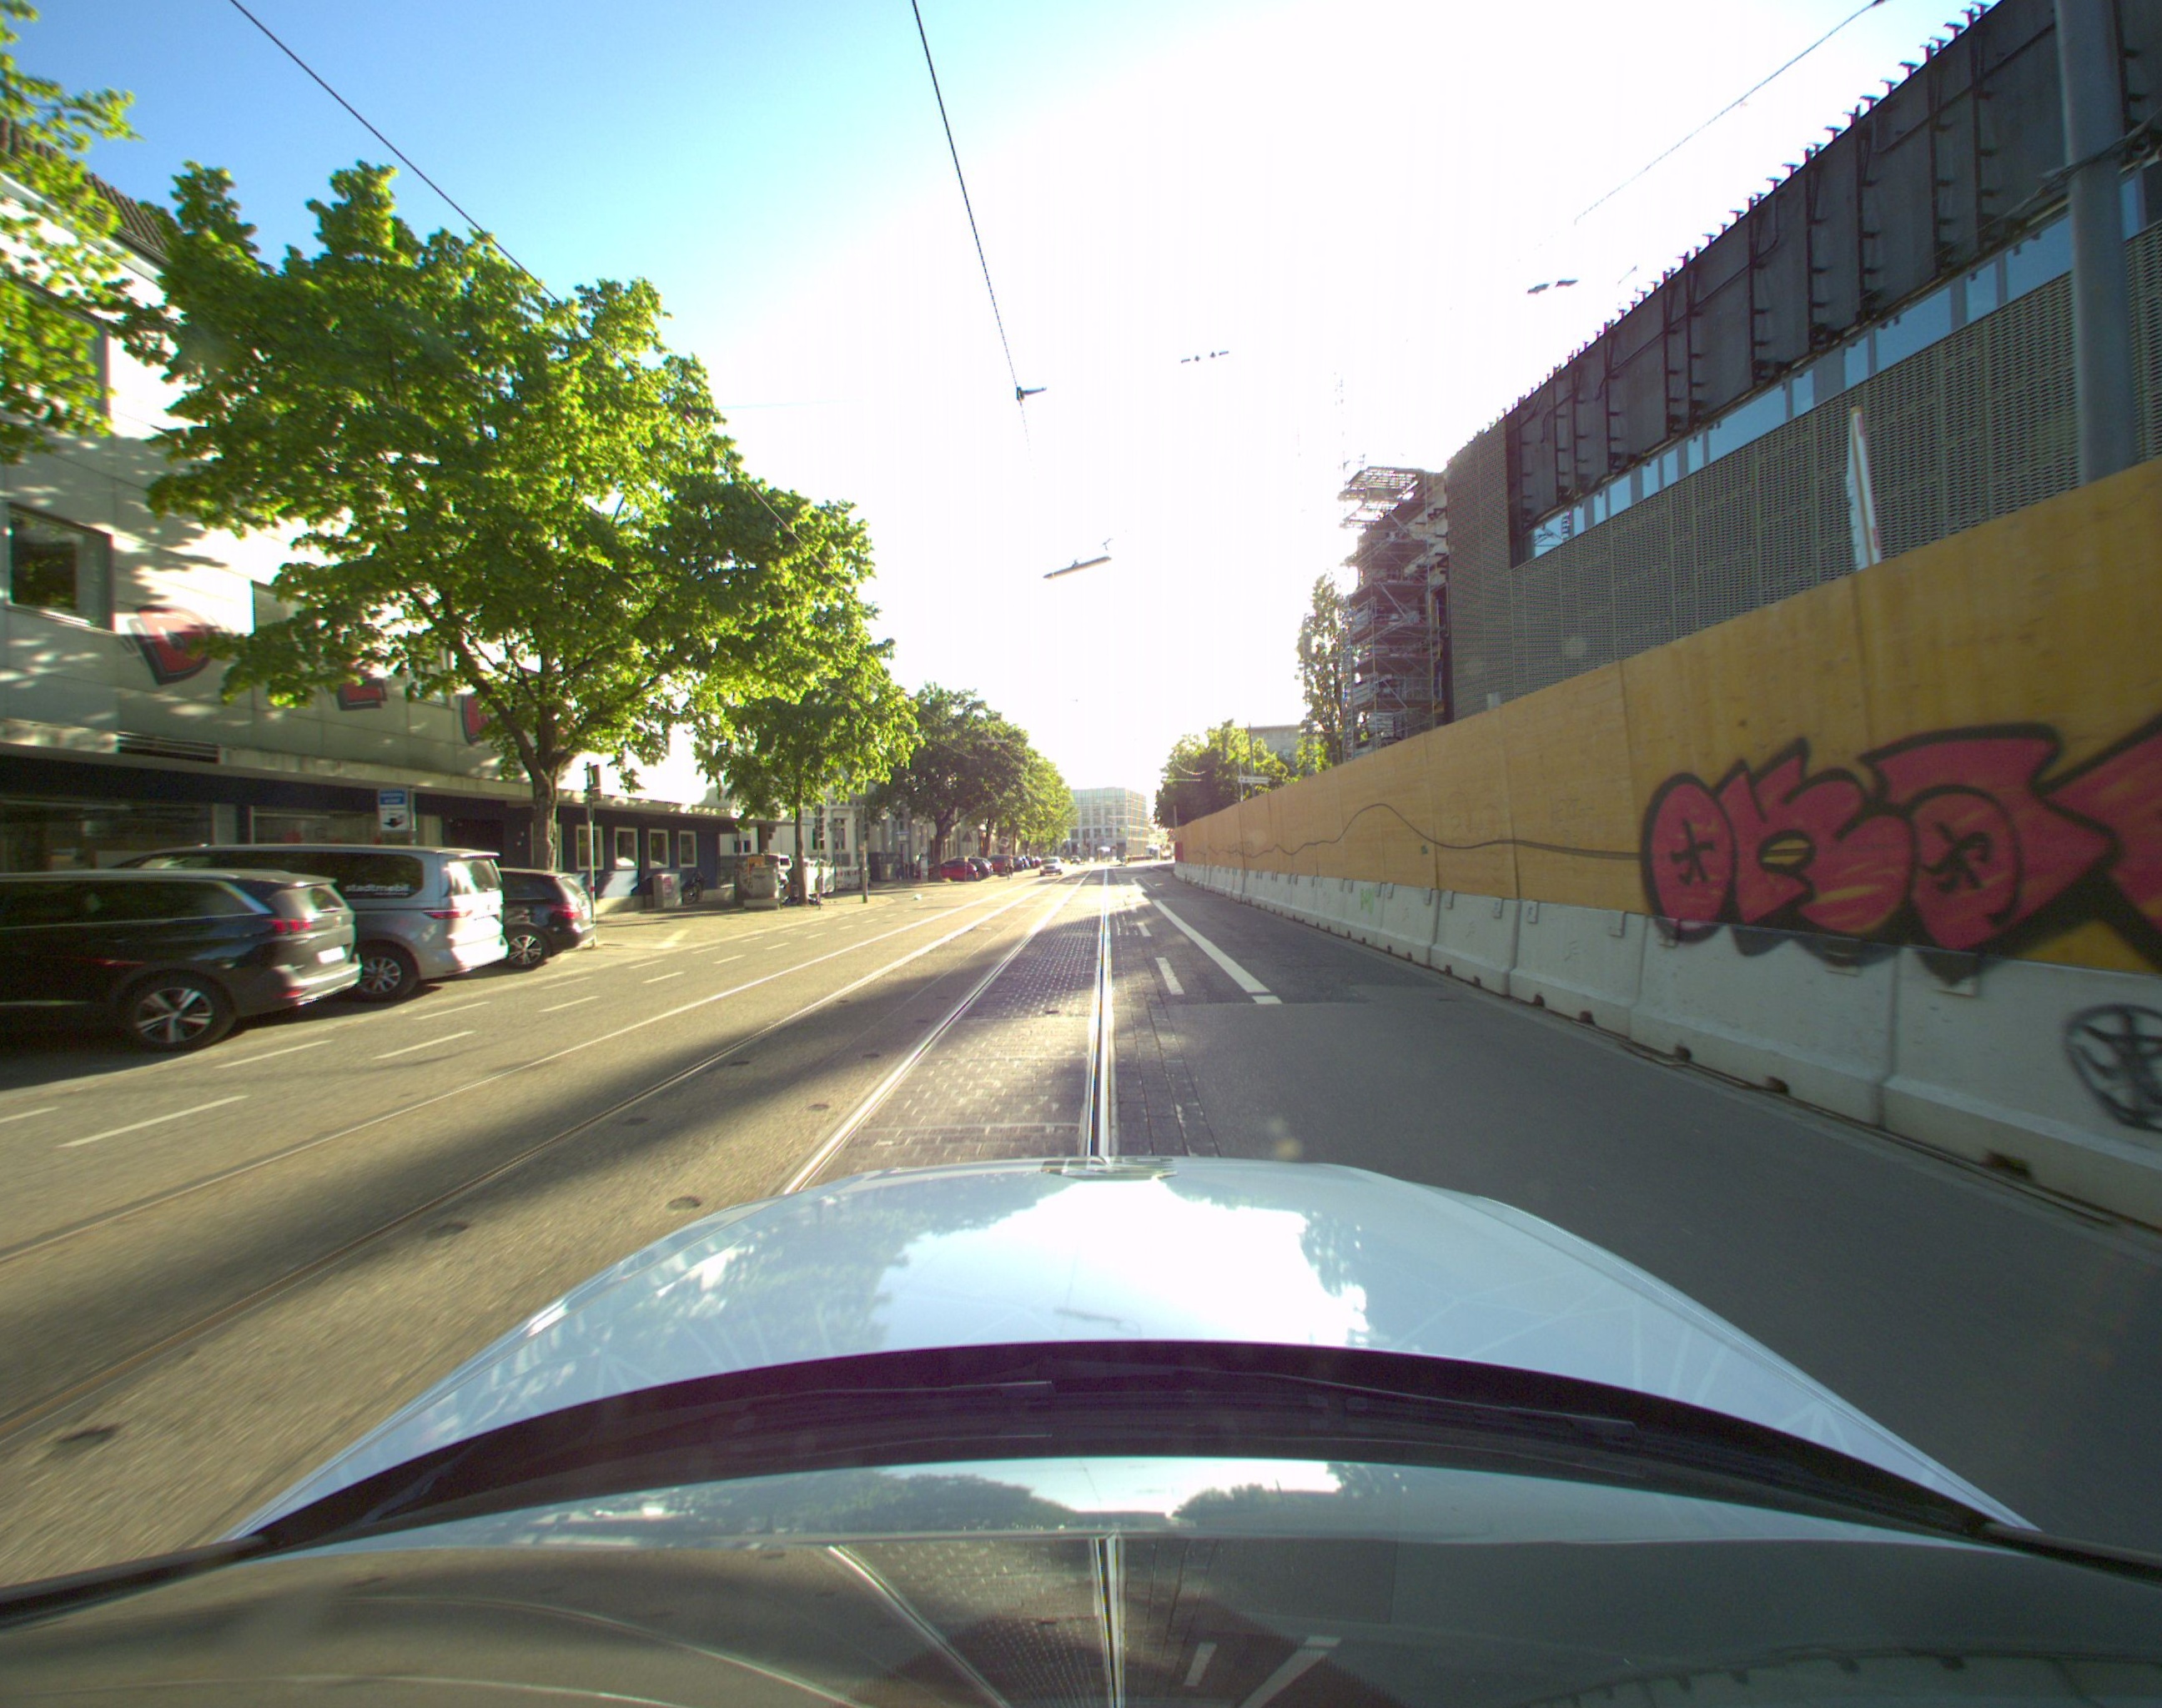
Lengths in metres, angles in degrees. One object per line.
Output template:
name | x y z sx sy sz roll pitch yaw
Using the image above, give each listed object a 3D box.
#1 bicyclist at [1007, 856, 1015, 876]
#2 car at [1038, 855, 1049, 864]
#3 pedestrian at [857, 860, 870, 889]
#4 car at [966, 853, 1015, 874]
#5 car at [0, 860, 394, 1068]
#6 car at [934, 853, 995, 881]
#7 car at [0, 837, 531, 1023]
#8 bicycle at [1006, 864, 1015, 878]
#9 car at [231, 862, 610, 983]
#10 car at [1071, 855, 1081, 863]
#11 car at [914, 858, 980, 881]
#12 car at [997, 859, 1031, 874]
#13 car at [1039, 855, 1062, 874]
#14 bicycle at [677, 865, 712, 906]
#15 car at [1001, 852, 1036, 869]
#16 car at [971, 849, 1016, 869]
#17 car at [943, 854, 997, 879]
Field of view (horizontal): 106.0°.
bicyclist | -4.846 0.836 56.277 0.456 1.378 0.640 -2 0 0
car | -6.565 1.000 142.371 1.567 1.490 4.002 -3 0 2
pedestrian | -11.903 1.138 44.574 0.342 1.572 0.515 -2 0 30
car | -8.302 0.866 74.493 4.181 1.721 1.570 -1 0 -26
car | -9.676 1.013 7.833 4.249 1.685 1.799 -3 0 -19
car | -7.953 0.888 55.694 3.700 1.721 1.594 -2 0 -34
car | -9.868 0.815 10.370 4.369 1.986 1.936 0 0 -20
bicycle | -4.850 1.172 56.176 0.447 0.881 1.901 -2 0 0
car | -10.198 0.986 13.069 4.300 1.666 1.897 1 -1 -23
car | -1.005 1.058 166.603 1.550 1.530 4.007 -2 0 6
car | -8.768 0.998 53.232 3.927 1.453 1.621 0 -1 -32
car | -7.123 1.305 86.494 3.391 1.420 1.393 -2 0 -26
car | -2.502 0.865 67.299 1.704 1.436 4.171 -2 0 0
bicycle | -13.486 1.090 28.473 0.525 1.344 2.176 -2 0 -11
car | -6.481 0.651 84.598 3.391 1.697 1.393 -2 0 -26
car | -8.340 0.495 77.709 3.850 1.832 1.716 0 -1 -29
car | -8.363 0.943 61.508 3.700 1.721 1.594 -2 0 -34
